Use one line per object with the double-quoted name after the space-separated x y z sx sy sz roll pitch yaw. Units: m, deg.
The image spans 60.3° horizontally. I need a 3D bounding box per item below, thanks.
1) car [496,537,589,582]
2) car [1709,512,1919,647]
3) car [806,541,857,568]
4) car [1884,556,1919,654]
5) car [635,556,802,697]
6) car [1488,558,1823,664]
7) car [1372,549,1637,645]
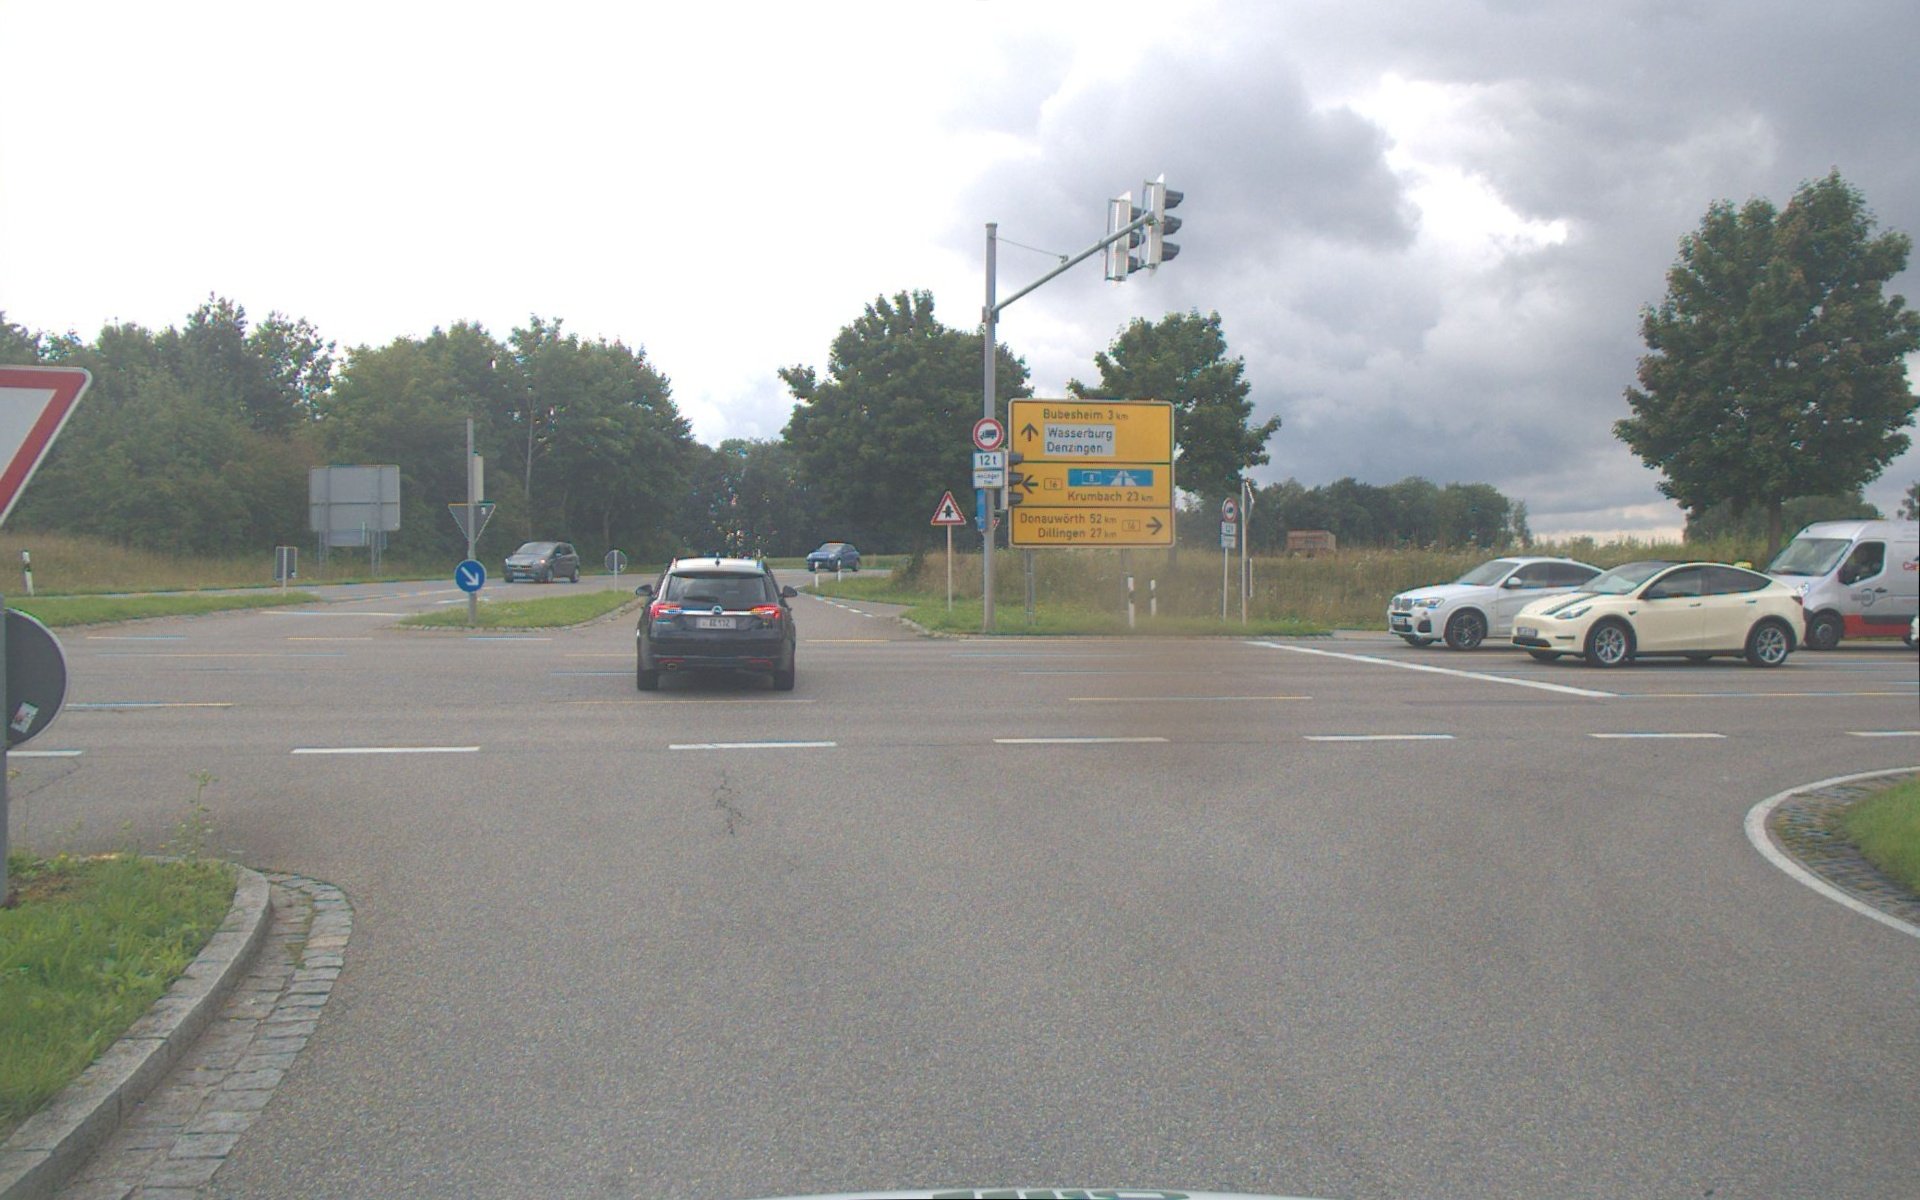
-15.152 -1.453 60.253 1.951 1.562 4.003 0 1 8 "car"
17.738 -0.376 32.243 5.398 2.484 2.391 0 0 -12 "car"
-7.623 -2.704 98.573 1.951 1.598 4.761 1 1 9 "car"
18.321 0.098 28.230 4.233 1.658 1.994 0 0 -12 "car"
-2.893 0.226 19.923 1.774 1.476 4.266 0 2 -8 "car"
11.035 0.172 26.345 4.650 1.592 1.994 0 0 -13 "car"
9.863 -0.044 30.087 4.187 1.657 1.993 0 0 -13 "car"
